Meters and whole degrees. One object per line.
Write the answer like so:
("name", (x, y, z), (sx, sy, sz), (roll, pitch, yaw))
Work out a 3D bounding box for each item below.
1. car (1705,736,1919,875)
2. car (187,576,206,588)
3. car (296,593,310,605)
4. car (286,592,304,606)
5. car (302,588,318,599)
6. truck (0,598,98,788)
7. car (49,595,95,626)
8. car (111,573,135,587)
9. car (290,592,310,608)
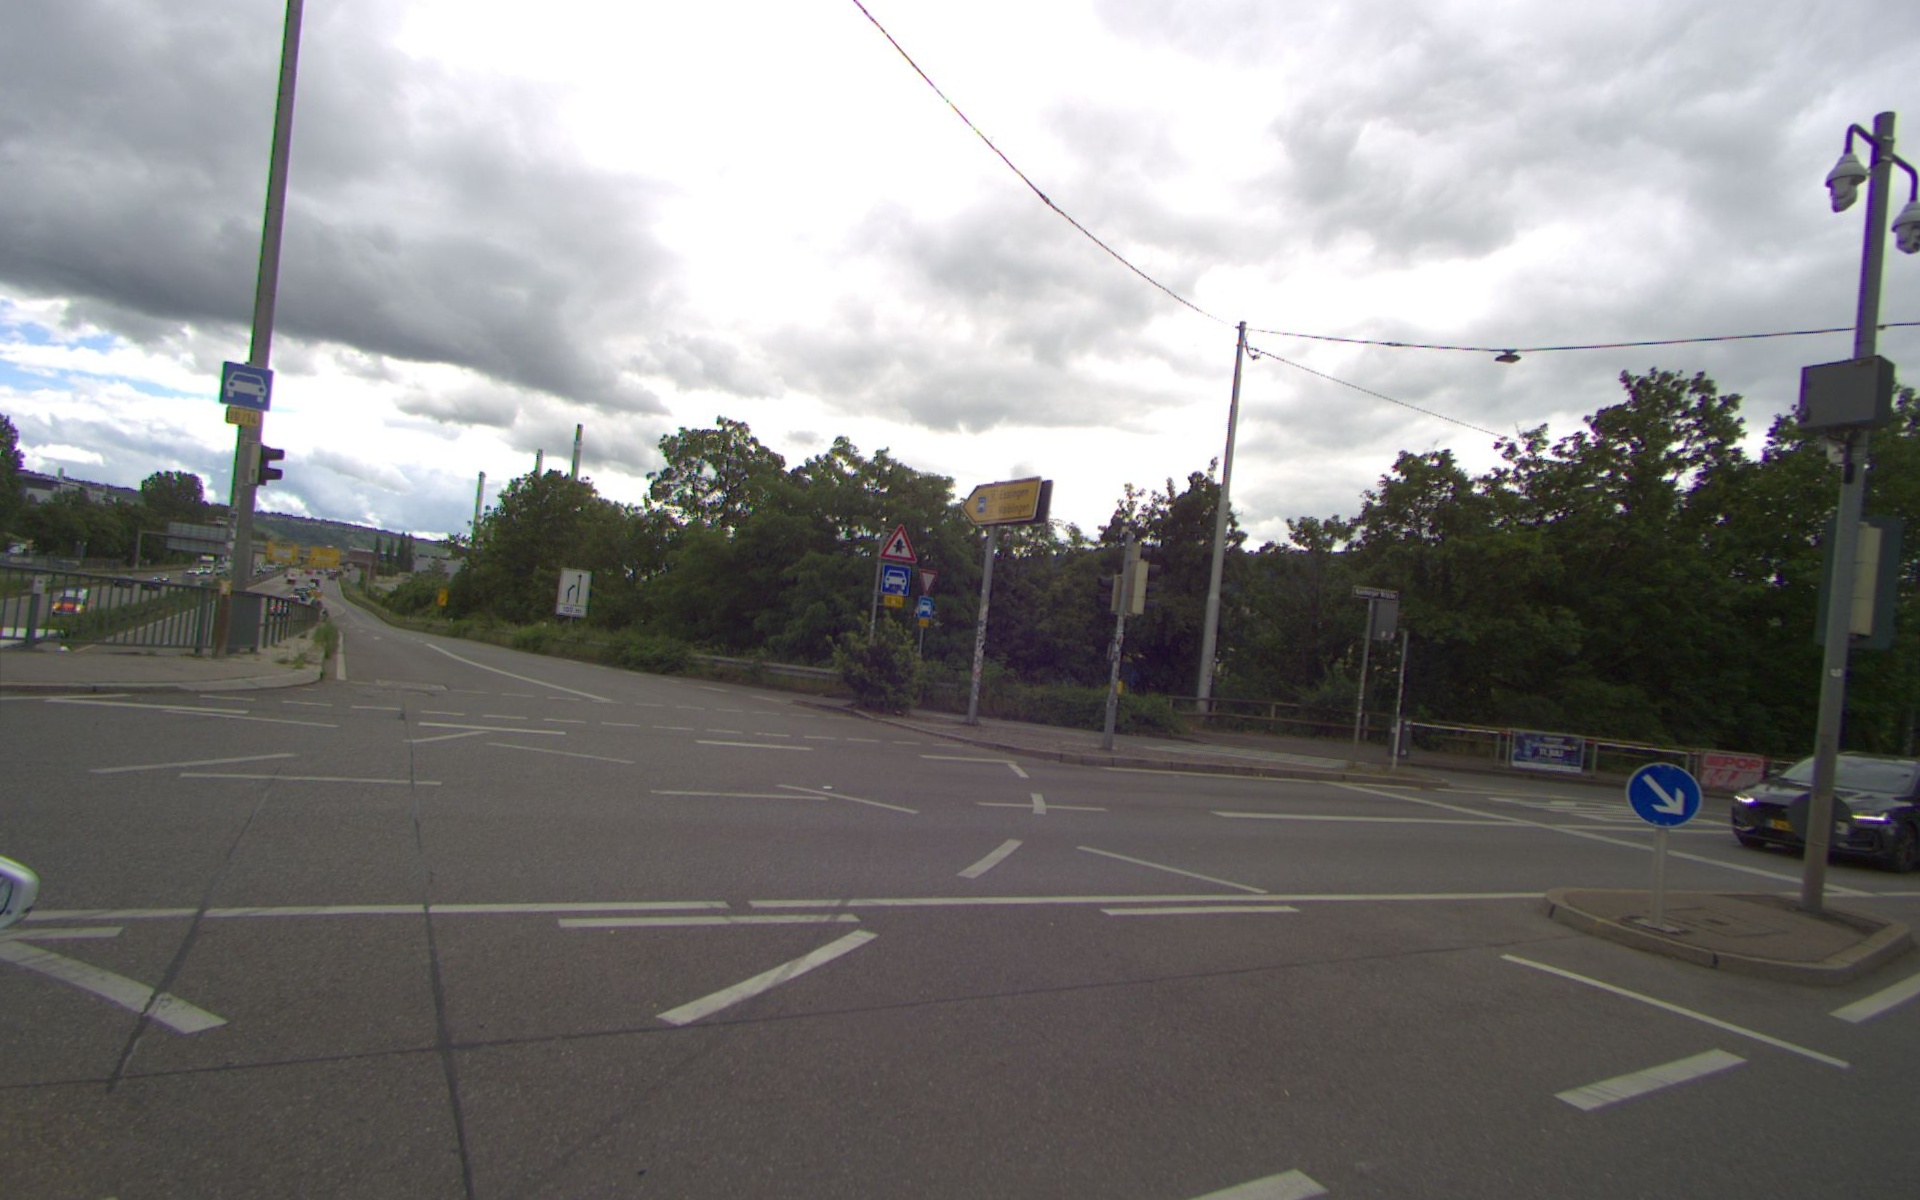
("car", (12.683, 2.818, 13.991), (4.398, 1.437, 1.923), (6, -2, -27))
("car", (-126.476, -2.916, 166.763), (1.979, 1.726, 4.050), (6, -3, -31))
("car", (-117.635, -0.164, 180.160), (1.981, 2.037, 3.967), (6, -3, -34))
("car", (-95.146, -0.115, 143.898), (1.981, 1.756, 3.964), (6, -3, -34))
("car", (-132.474, -1.286, 205.015), (2.515, 1.923, 4.842), (6, -3, -34))
("truck", (-30.558, 2.732, 30.874), (3.551, 4.541, 13.071), (8, 0, -31))
("car", (-75.629, 0.888, 85.714), (1.979, 2.398, 4.556), (6, -3, -31))
("car", (-118.260, -2.771, 142.176), (1.979, 1.726, 4.050), (6, -3, -31))
("car", (-84.428, 0.016, 128.652), (1.980, 1.756, 3.964), (6, -3, -34))
